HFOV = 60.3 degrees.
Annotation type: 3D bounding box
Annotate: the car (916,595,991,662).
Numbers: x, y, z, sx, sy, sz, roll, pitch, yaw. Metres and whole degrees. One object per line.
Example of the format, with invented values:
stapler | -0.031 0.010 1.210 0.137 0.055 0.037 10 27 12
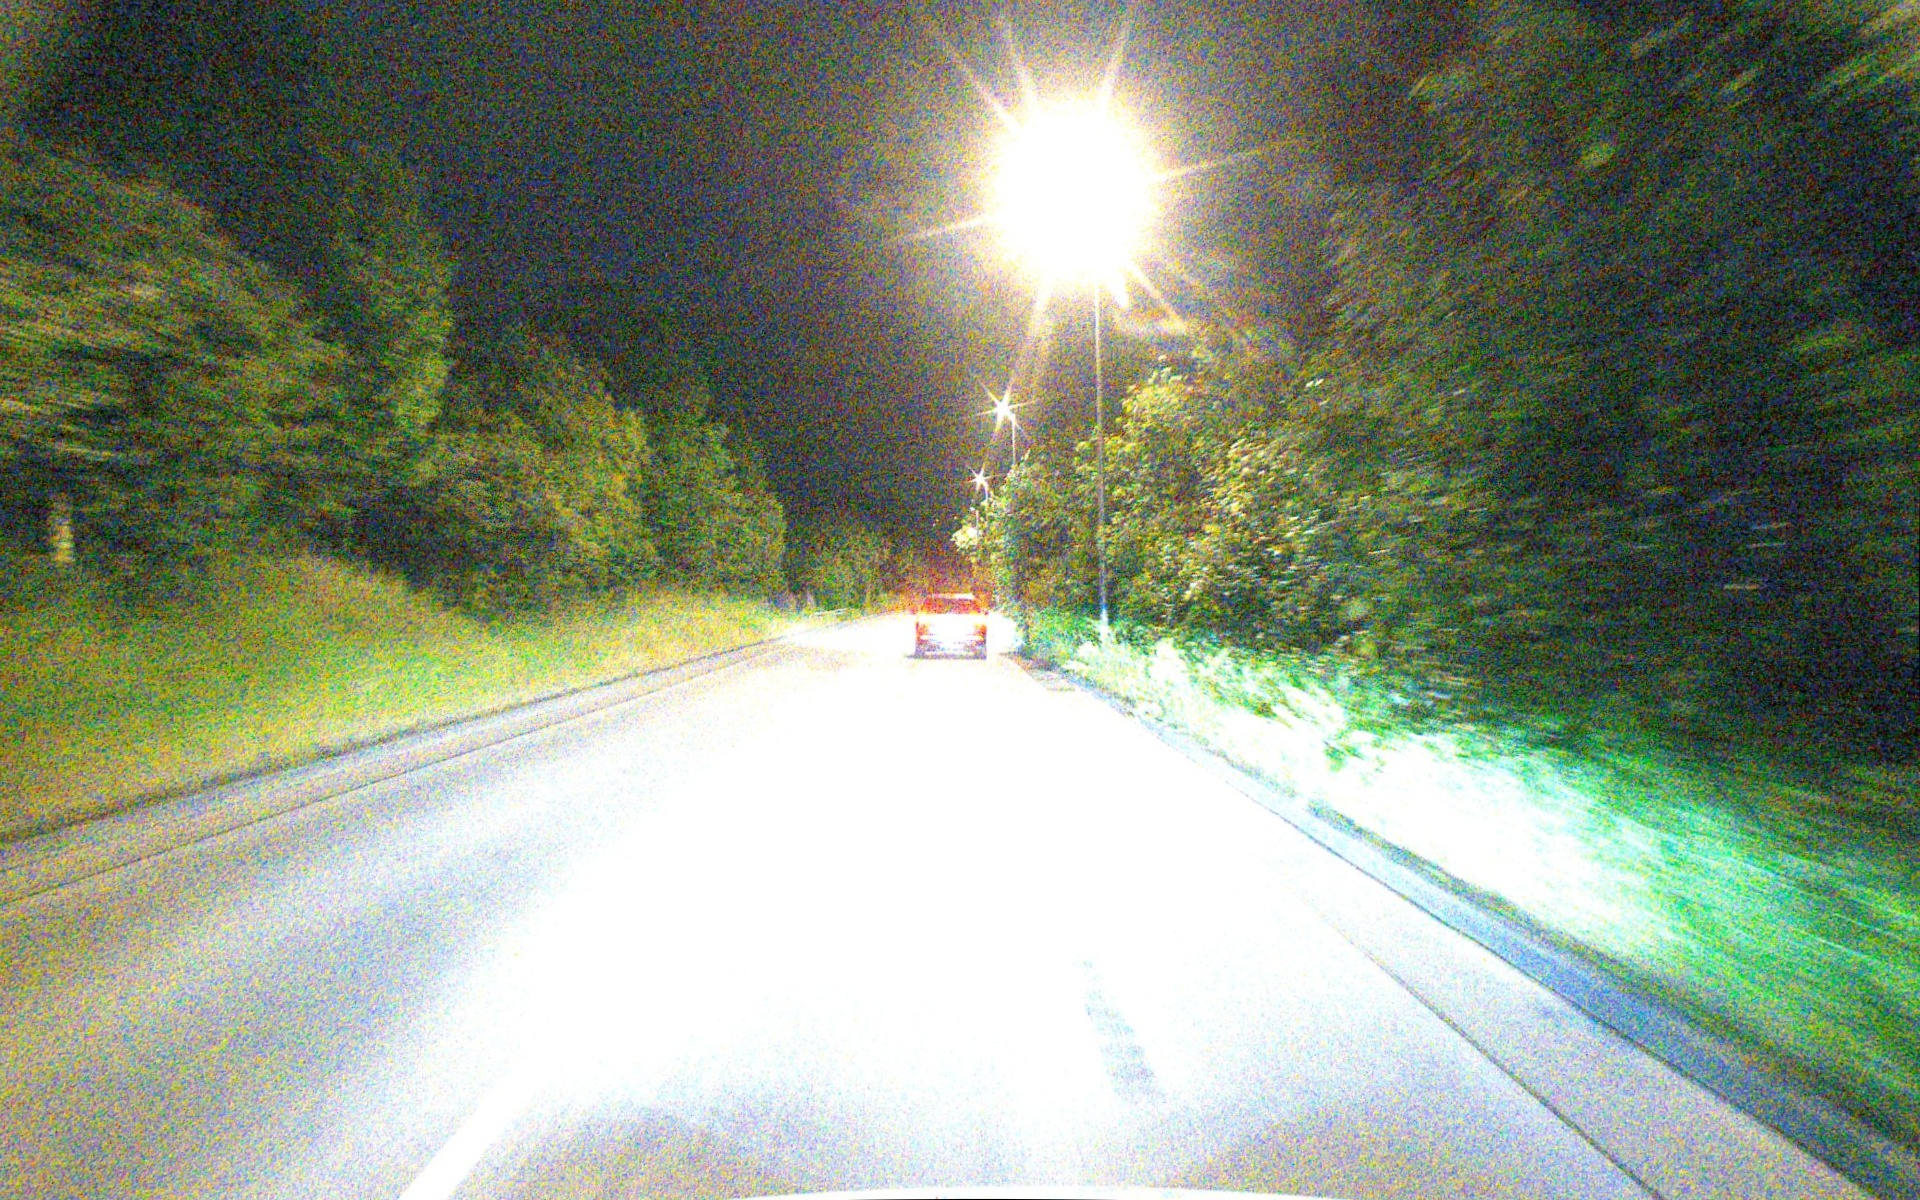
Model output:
car | -0.203 0.678 41.813 1.778 1.601 3.942 1 0 -2
